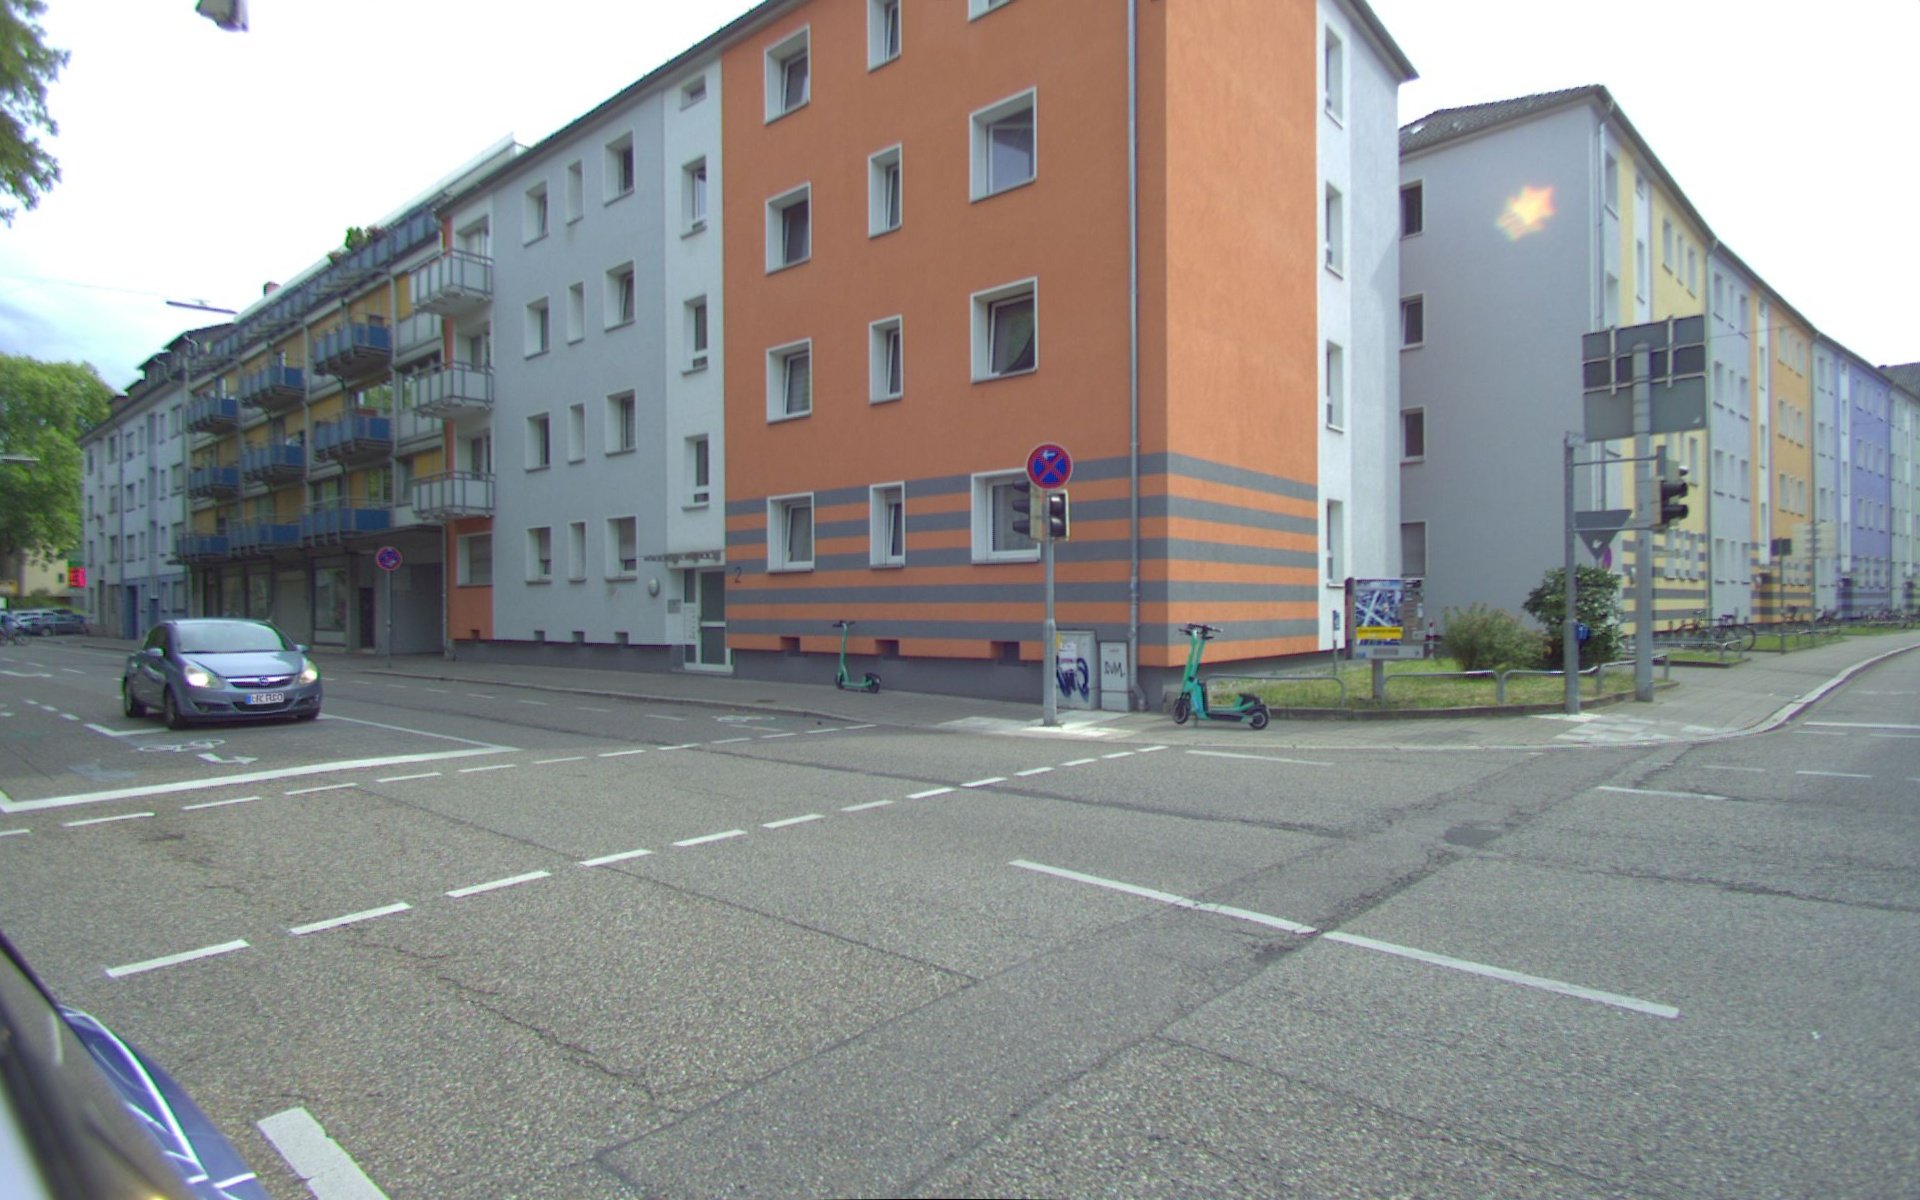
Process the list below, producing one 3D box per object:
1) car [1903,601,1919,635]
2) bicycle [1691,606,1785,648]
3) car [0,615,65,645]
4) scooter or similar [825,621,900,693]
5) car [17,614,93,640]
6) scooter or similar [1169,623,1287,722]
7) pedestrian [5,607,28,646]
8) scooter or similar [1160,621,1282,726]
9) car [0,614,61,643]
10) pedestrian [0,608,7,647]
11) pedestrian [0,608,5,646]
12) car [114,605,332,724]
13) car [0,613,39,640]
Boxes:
[{"bbox_3d":[60.310,1.077,61.758,3.999,2.029,1.972,-1,1,42],"label":"car"},{"bbox_3d":[20.128,0.697,26.208,1.867,1.019,0.554,-1,1,45],"label":"bicycle"},{"bbox_3d":[-69.640,2.236,75.556,1.999,2.028,3.947,-1,1,40],"label":"car"},{"bbox_3d":[-1.623,0.921,16.724,1.353,1.132,0.364,-1,1,42],"label":"scooter or similar"},{"bbox_3d":[-65.473,1.933,73.240,1.881,1.701,3.822,-1,1,40],"label":"car"},{"bbox_3d":[3.319,0.887,12.584,1.348,1.166,0.327,-2,1,28],"label":"scooter or similar"},{"bbox_3d":[-50.182,1.415,53.833,0.831,2.029,0.875,-3,1,-45],"label":"pedestrian"},{"bbox_3d":[3.099,0.862,12.054,1.337,1.187,0.327,-2,1,28],"label":"scooter or similar"},{"bbox_3d":[-71.520,2.151,77.313,1.999,2.028,3.947,-1,1,40],"label":"car"},{"bbox_3d":[-50.656,1.444,53.112,0.831,2.029,0.875,-3,1,-45],"label":"pedestrian"},{"bbox_3d":[-52.297,1.478,54.771,0.831,2.029,0.875,-3,1,-45],"label":"pedestrian"},{"bbox_3d":[-10.431,0.819,14.226,3.818,1.449,1.651,-1,-1,41],"label":"car"},{"bbox_3d":[-78.624,2.205,83.279,1.999,2.028,3.947,-1,1,40],"label":"car"}]
